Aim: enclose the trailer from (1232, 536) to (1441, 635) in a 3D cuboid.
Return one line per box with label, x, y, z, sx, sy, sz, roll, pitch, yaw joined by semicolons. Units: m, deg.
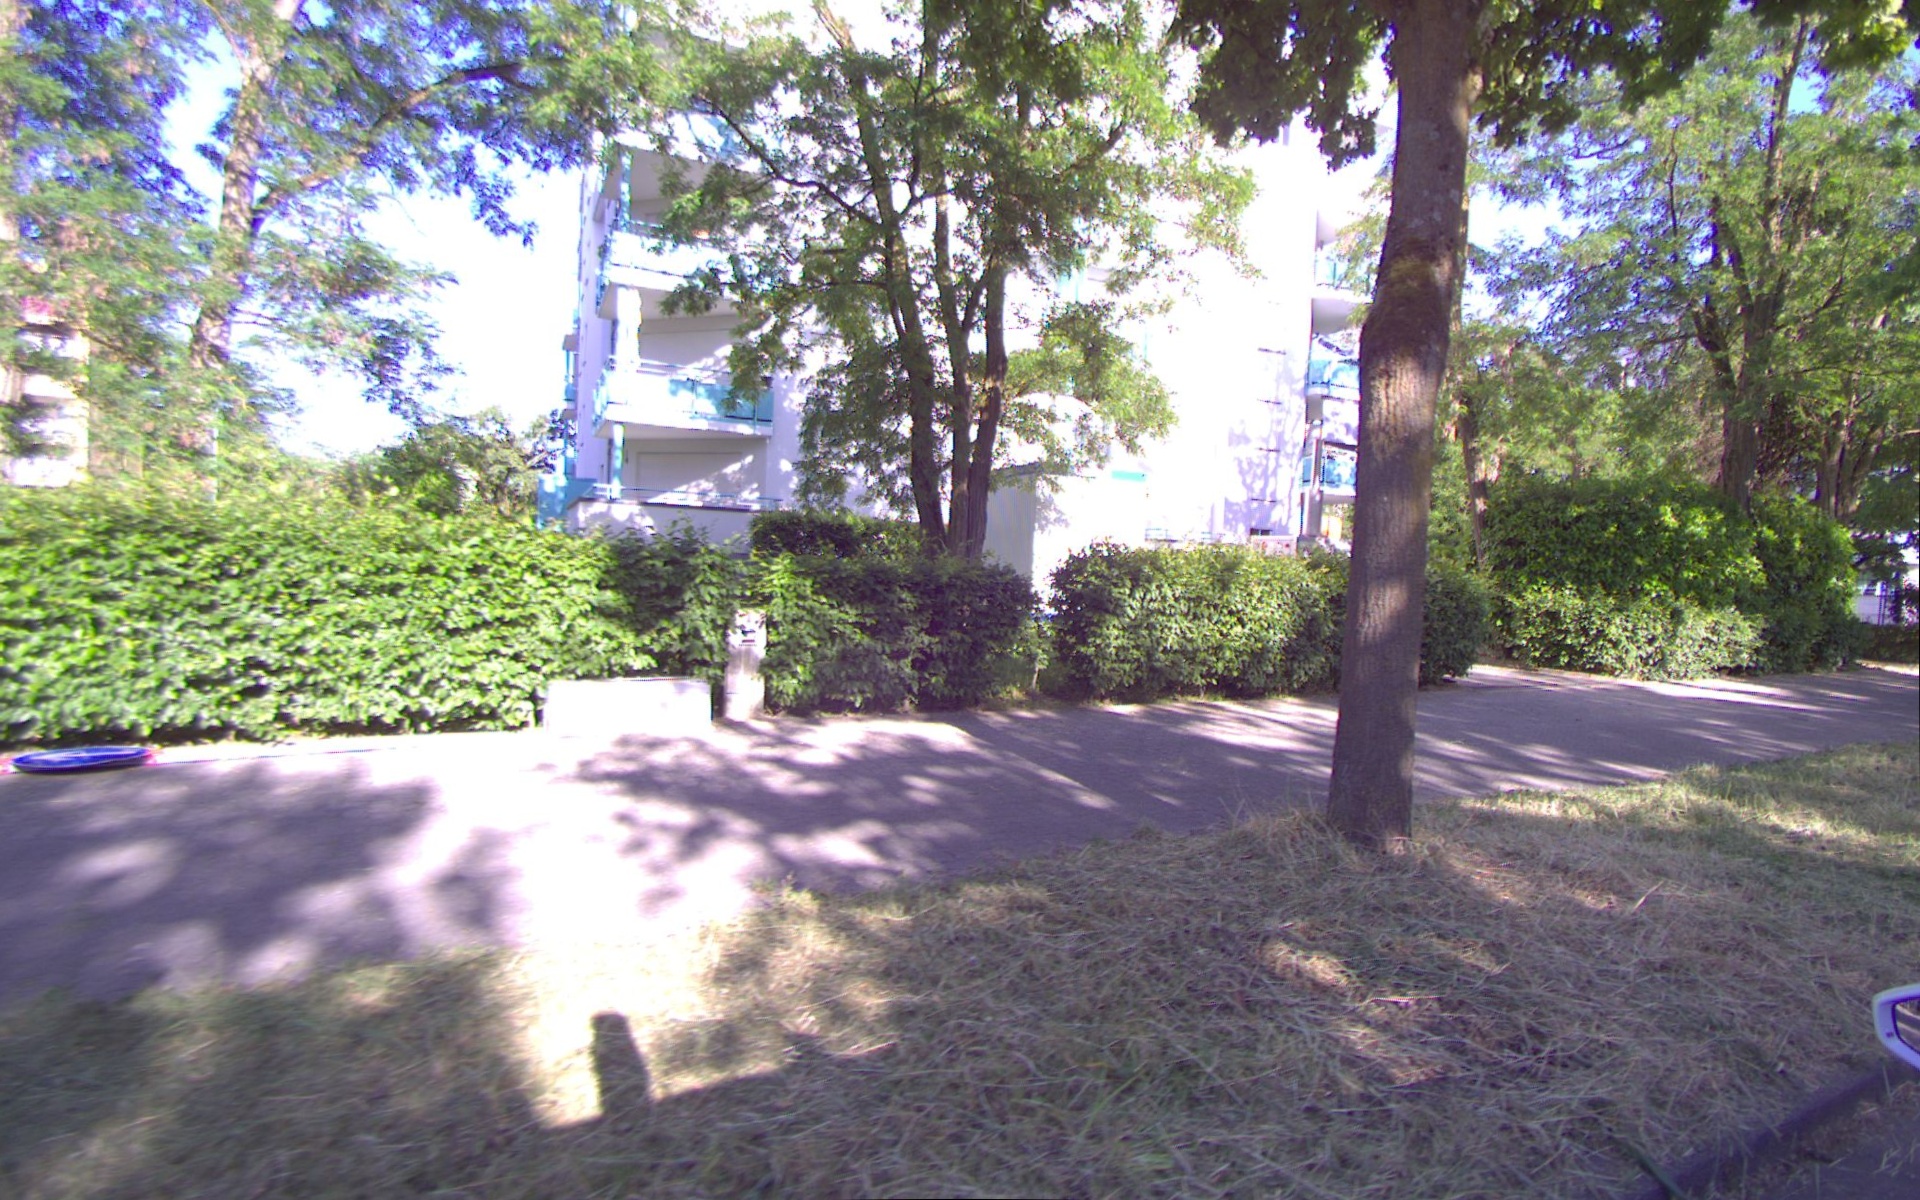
trailer;8.744;-0.326;23.356;4.368;2.070;1.971;2;2;-24
